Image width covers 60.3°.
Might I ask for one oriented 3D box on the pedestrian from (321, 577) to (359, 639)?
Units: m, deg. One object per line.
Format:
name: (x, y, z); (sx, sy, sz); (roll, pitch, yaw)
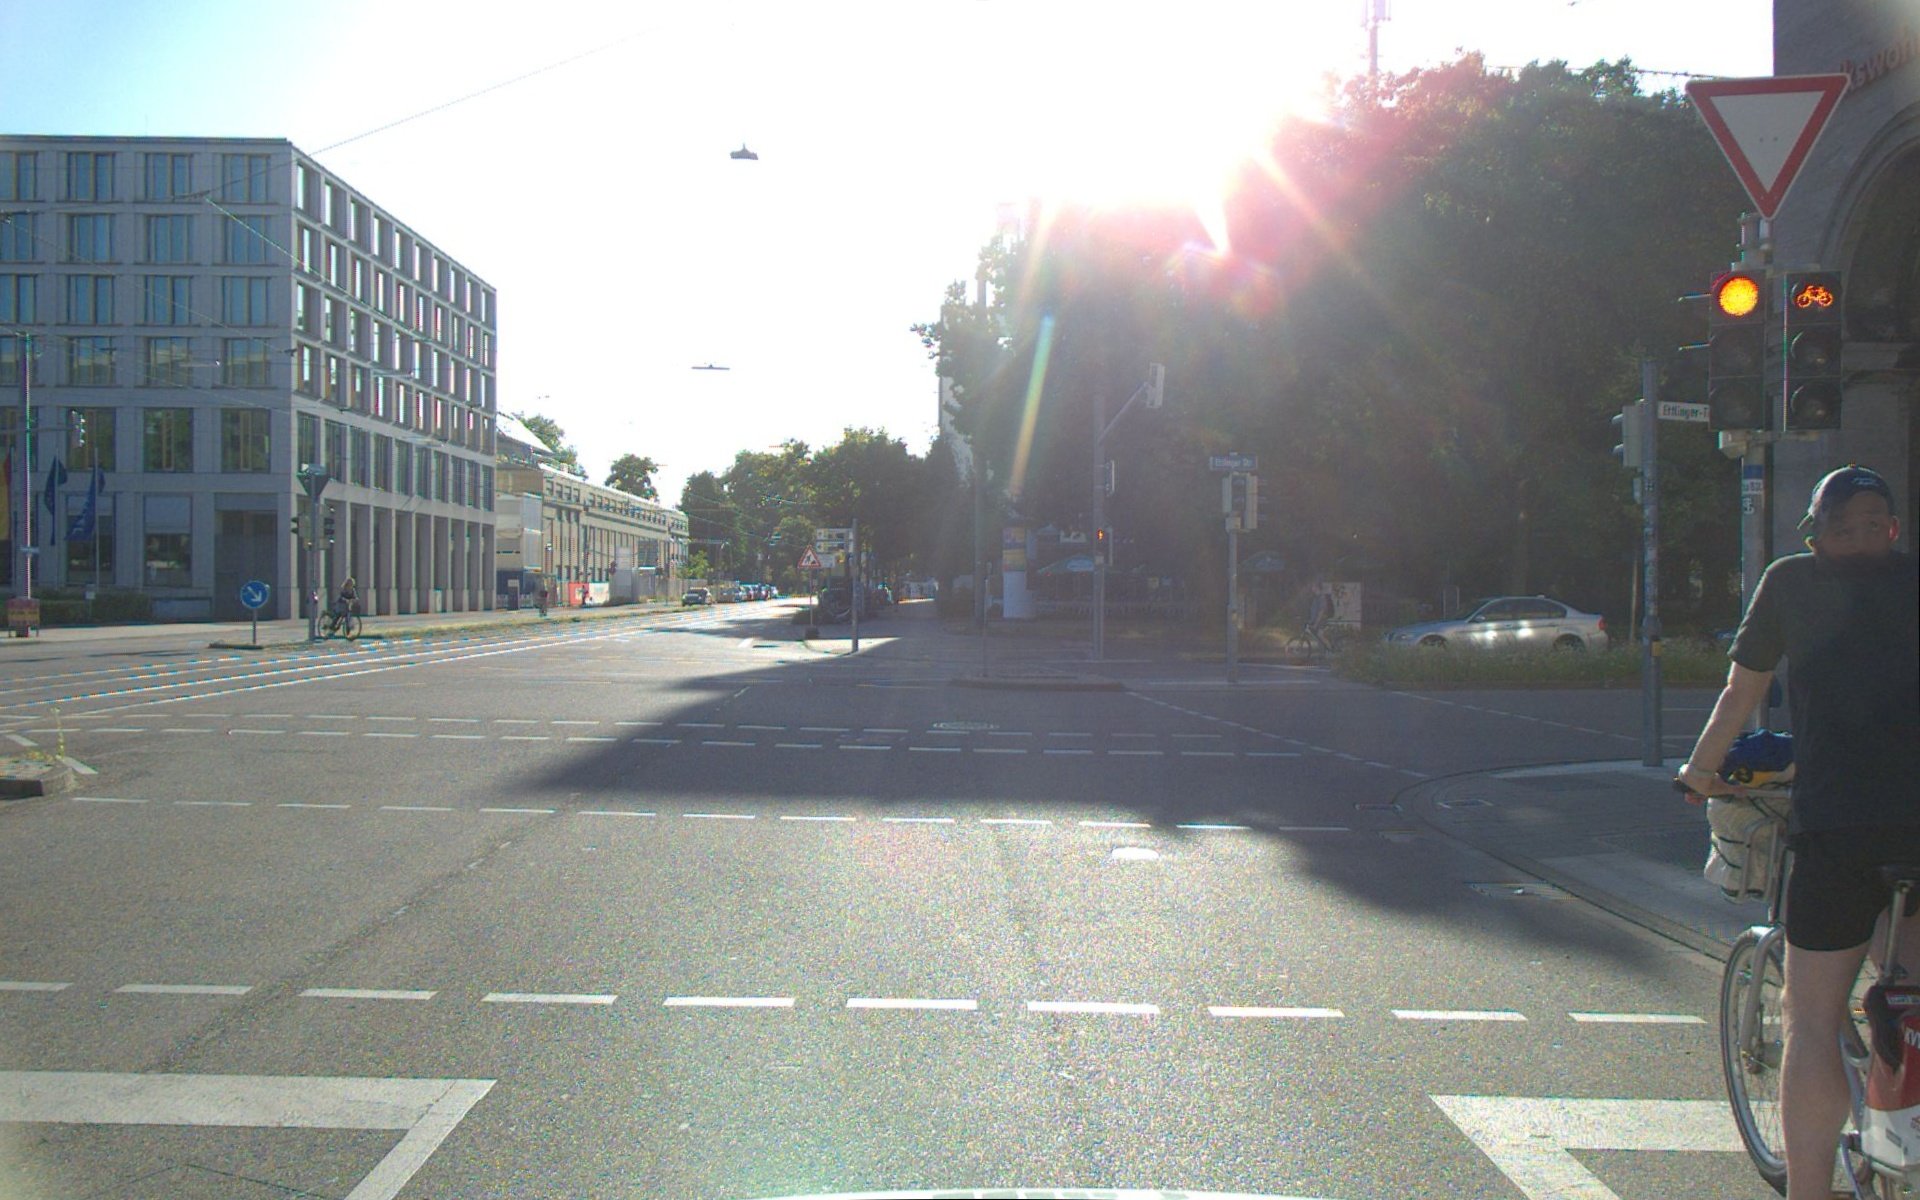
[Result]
pedestrian: (-16.296, 0.209, 43.473); (0.727, 1.623, 0.573); (0, 0, 26)

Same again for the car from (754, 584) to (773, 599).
car: (-23.052, -0.985, 194.345); (1.954, 1.673, 3.997); (0, 0, -4)

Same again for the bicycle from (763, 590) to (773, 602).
bicycle: (-19.611, -0.406, 168.578); (0.735, 1.226, 3.107); (1, 0, -2)

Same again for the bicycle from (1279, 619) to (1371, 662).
bicycle: (8.030, 0.887, 36.472); (1.902, 0.905, 0.718); (1, 0, 5)

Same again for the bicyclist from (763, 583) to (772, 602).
bicyclist: (-19.604, -0.787, 168.461); (0.735, 1.953, 1.214); (1, 0, -2)

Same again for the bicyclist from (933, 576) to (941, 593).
bicyclist: (-2.774, -1.876, 200.538); (0.875, 2.049, 0.746); (1, -1, -12)

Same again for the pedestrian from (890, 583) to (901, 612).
pedestrian: (-3.811, -0.147, 97.499); (0.566, 1.719, 0.584); (0, 0, -8)

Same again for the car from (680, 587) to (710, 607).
car: (-21.672, -0.251, 135.413); (1.954, 1.627, 3.997); (0, 1, -3)

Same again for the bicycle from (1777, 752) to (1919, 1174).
bicycle: (2.877, 1.019, 4.376); (0.570, 1.062, 1.747); (0, 0, 0)

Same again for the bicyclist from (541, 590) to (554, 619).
bicyclist: (-21.665, 0.238, 86.779); (0.484, 1.525, 0.666); (0, 0, 2)

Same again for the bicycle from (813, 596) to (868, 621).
bicycle: (-4.840, 0.345, 67.130); (2.201, 0.956, 0.653); (0, 0, -6)

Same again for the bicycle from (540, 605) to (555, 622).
bicycle: (-21.662, 0.698, 86.810); (0.484, 0.854, 1.156); (0, 0, 2)

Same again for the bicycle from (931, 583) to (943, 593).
bicycle: (-2.760, -1.472, 200.442); (0.875, 1.240, 2.785); (1, 0, -12)

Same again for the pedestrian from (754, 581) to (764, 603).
pedestrian: (-19.808, -0.777, 163.213); (0.735, 2.099, 1.050); (1, -1, 5)

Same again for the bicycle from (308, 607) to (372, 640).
bicycle: (-16.306, 0.607, 43.483); (1.679, 0.837, 0.573); (0, 0, 27)

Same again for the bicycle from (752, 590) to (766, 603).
bicycle: (-19.823, -0.347, 163.144); (0.735, 1.226, 3.109); (1, 0, 5)

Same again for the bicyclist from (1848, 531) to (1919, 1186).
bicyclist: (2.877, 0.698, 4.340); (0.572, 1.769, 0.950); (0, 0, 0)

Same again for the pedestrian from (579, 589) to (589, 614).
pedestrian: (-28.590, 0.094, 125.888); (0.579, 1.922, 0.475); (0, -1, 42)

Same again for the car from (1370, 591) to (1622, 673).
car: (10.845, 0.637, 33.711); (4.483, 1.543, 2.000); (1, 0, -1)

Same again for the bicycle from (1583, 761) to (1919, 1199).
bicycle: (2.131, 1.003, 3.900); (0.610, 1.062, 1.746); (0, 0, -2)

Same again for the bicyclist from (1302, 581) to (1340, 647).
bicyclist: (7.952, 0.311, 36.479); (0.731, 1.431, 0.702); (1, -1, 6)

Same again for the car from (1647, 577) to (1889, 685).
car: (16.224, 0.618, 33.366); (3.905, 2.049, 2.000); (1, 0, 0)

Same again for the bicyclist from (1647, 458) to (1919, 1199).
bicyclist: (2.133, 0.575, 3.902); (0.611, 1.745, 0.912); (0, 0, -3)
